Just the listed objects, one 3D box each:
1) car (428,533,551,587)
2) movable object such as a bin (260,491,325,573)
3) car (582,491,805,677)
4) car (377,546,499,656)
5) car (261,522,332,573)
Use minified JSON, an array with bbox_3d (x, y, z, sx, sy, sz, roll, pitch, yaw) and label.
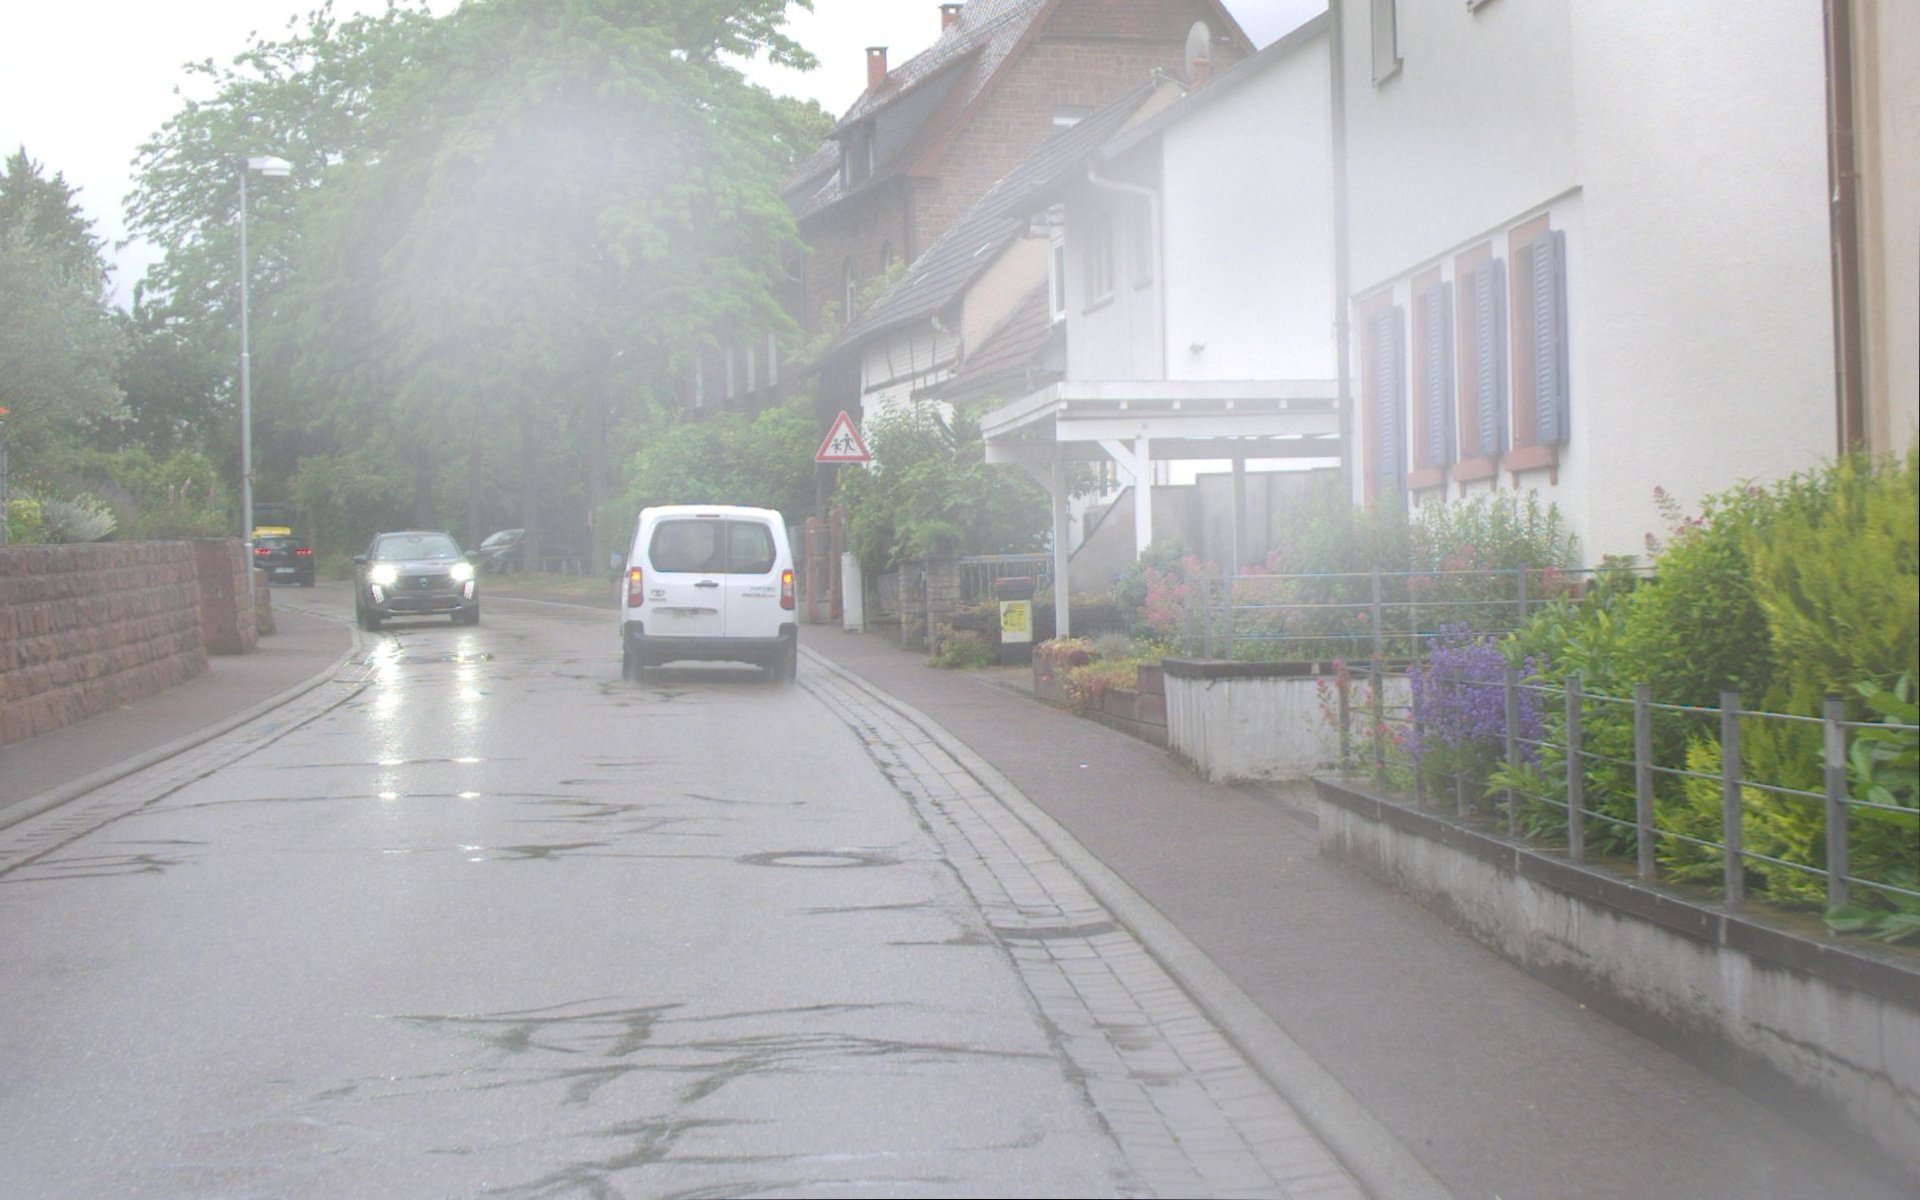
[{"bbox_3d":[-14.343,-1.219,105.002,1.620,1.545,3.606,-1,1,37],"label":"car"},{"bbox_3d":[-21.003,-2.118,108.088,1.761,2.539,4.240,0,1,-14],"label":"movable object such as a bin"},{"bbox_3d":[-2.872,-0.222,36.340,1.896,1.800,4.001,-2,2,-10],"label":"car"},{"bbox_3d":[-8.398,-0.021,55.075,1.699,1.541,3.852,-4,2,-11],"label":"car"},{"bbox_3d":[-18.576,-1.463,96.188,1.708,1.373,4.001,0,1,-14],"label":"car"}]
